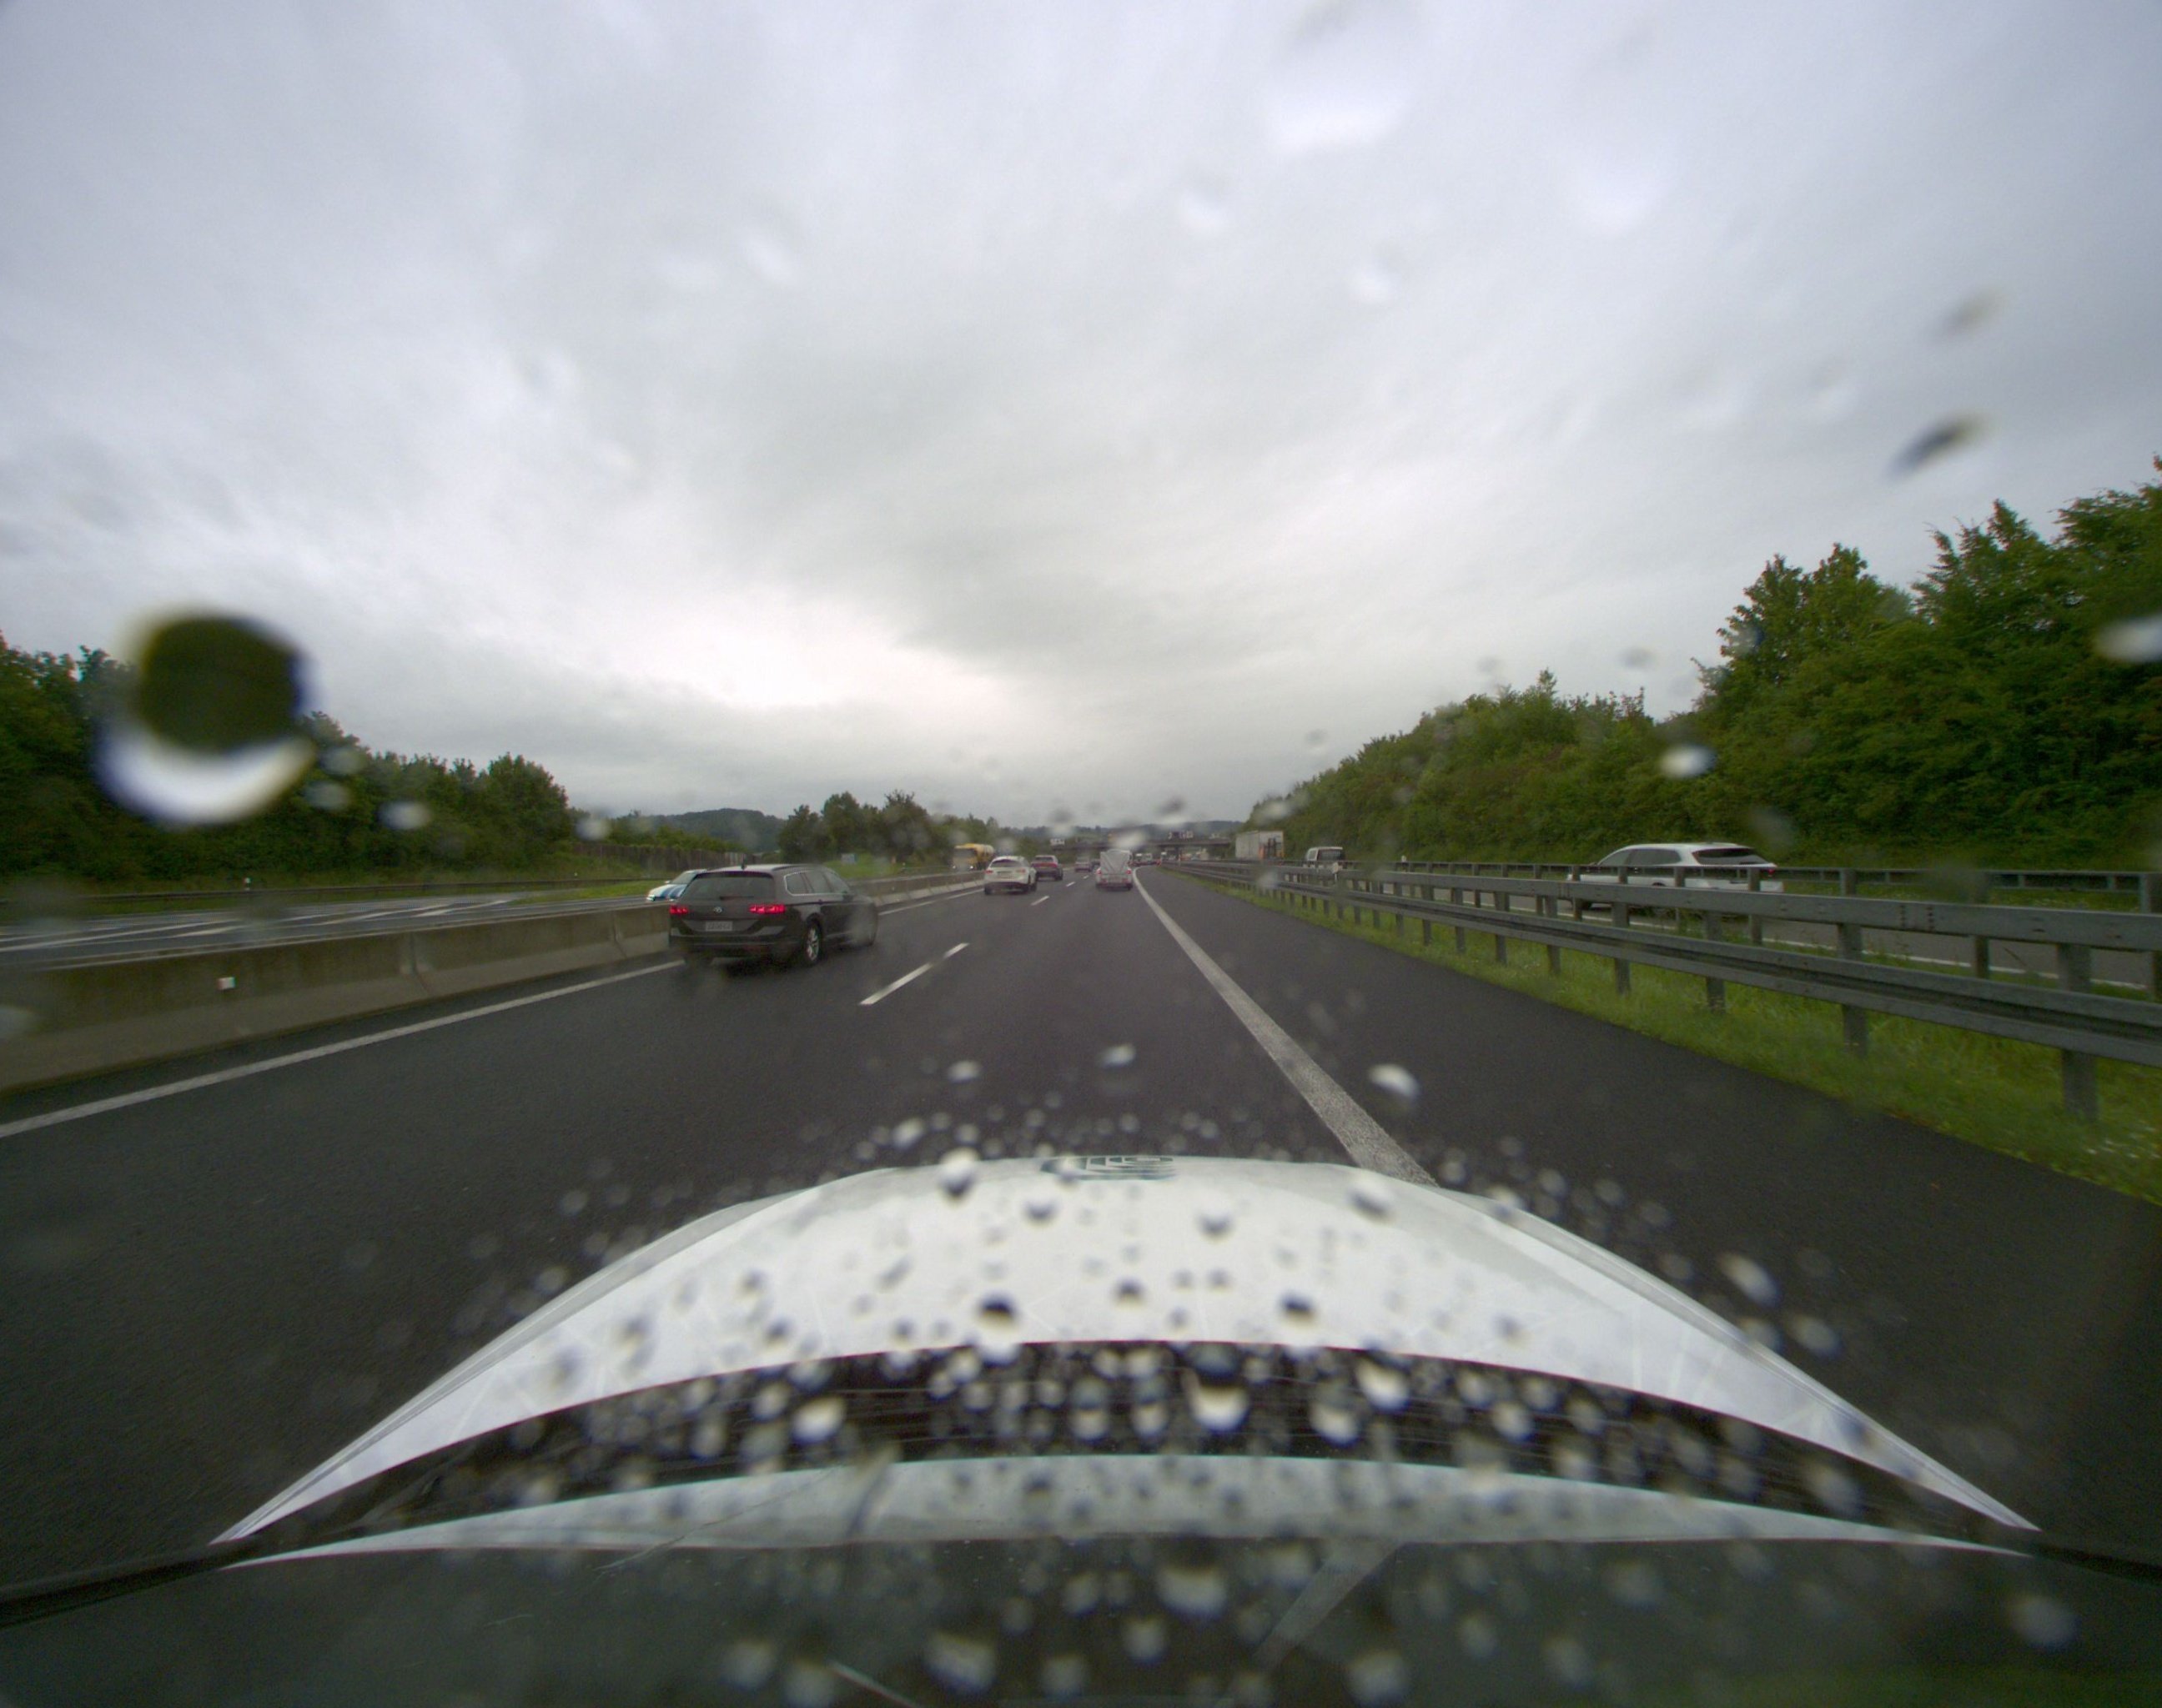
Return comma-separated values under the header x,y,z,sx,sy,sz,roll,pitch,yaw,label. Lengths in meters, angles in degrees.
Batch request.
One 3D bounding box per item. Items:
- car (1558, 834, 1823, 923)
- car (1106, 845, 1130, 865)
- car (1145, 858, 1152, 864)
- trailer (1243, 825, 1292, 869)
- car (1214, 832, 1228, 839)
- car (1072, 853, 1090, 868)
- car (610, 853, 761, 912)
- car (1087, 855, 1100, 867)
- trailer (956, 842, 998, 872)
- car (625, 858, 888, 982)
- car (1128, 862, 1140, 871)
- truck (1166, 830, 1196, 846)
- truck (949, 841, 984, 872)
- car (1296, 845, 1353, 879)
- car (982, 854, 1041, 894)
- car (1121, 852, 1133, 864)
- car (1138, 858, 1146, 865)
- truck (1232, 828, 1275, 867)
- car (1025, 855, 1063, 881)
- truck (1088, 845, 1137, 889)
x,y,z,sx,sy,sz,roll,pitch,yaw,label
12.304,0.445,16.949,2.001,1.548,4.695,-1,0,0,car
5.011,0.158,110.598,3.003,2.616,6.082,-1,0,4,car
20.018,1.999,240.609,1.984,1.750,4.005,0,0,5,car
19.539,-0.691,85.960,3.422,4.289,10.465,-1,0,4,trailer
41.936,-5.521,244.333,1.851,1.915,3.956,0,-1,-36,car
0.006,0.689,92.984,1.893,1.613,4.018,-1,0,1,car
-12.601,0.835,26.409,2.169,1.696,4.871,-1,0,5,car
1.909,1.058,125.002,1.835,1.819,4.001,-1,0,1,car
-12.336,0.362,97.999,2.749,3.398,11.460,0,0,4,trailer
-4.603,0.829,12.507,1.893,1.497,4.854,-1,0,2,car
10.541,2.458,162.192,1.987,1.750,3.999,0,0,0,car
32.116,-5.137,260.856,3.794,4.836,9.935,-1,0,-35,truck
-12.825,0.320,91.776,2.749,3.398,5.852,0,0,4,truck
13.539,0.433,45.519,1.853,1.805,4.649,-1,0,1,car
-3.046,0.830,36.411,1.968,1.639,4.504,-1,0,3,car
8.047,0.701,143.162,1.987,2.036,4.151,0,0,0,car
15.970,2.049,213.234,1.985,1.750,4.004,0,0,4,car
20.277,-0.742,96.398,3.422,4.289,10.429,-1,0,4,truck
-2.463,0.921,55.230,2.166,1.631,4.502,-1,0,2,car
1.688,0.586,40.507,2.009,1.985,7.223,-1,0,5,truck
